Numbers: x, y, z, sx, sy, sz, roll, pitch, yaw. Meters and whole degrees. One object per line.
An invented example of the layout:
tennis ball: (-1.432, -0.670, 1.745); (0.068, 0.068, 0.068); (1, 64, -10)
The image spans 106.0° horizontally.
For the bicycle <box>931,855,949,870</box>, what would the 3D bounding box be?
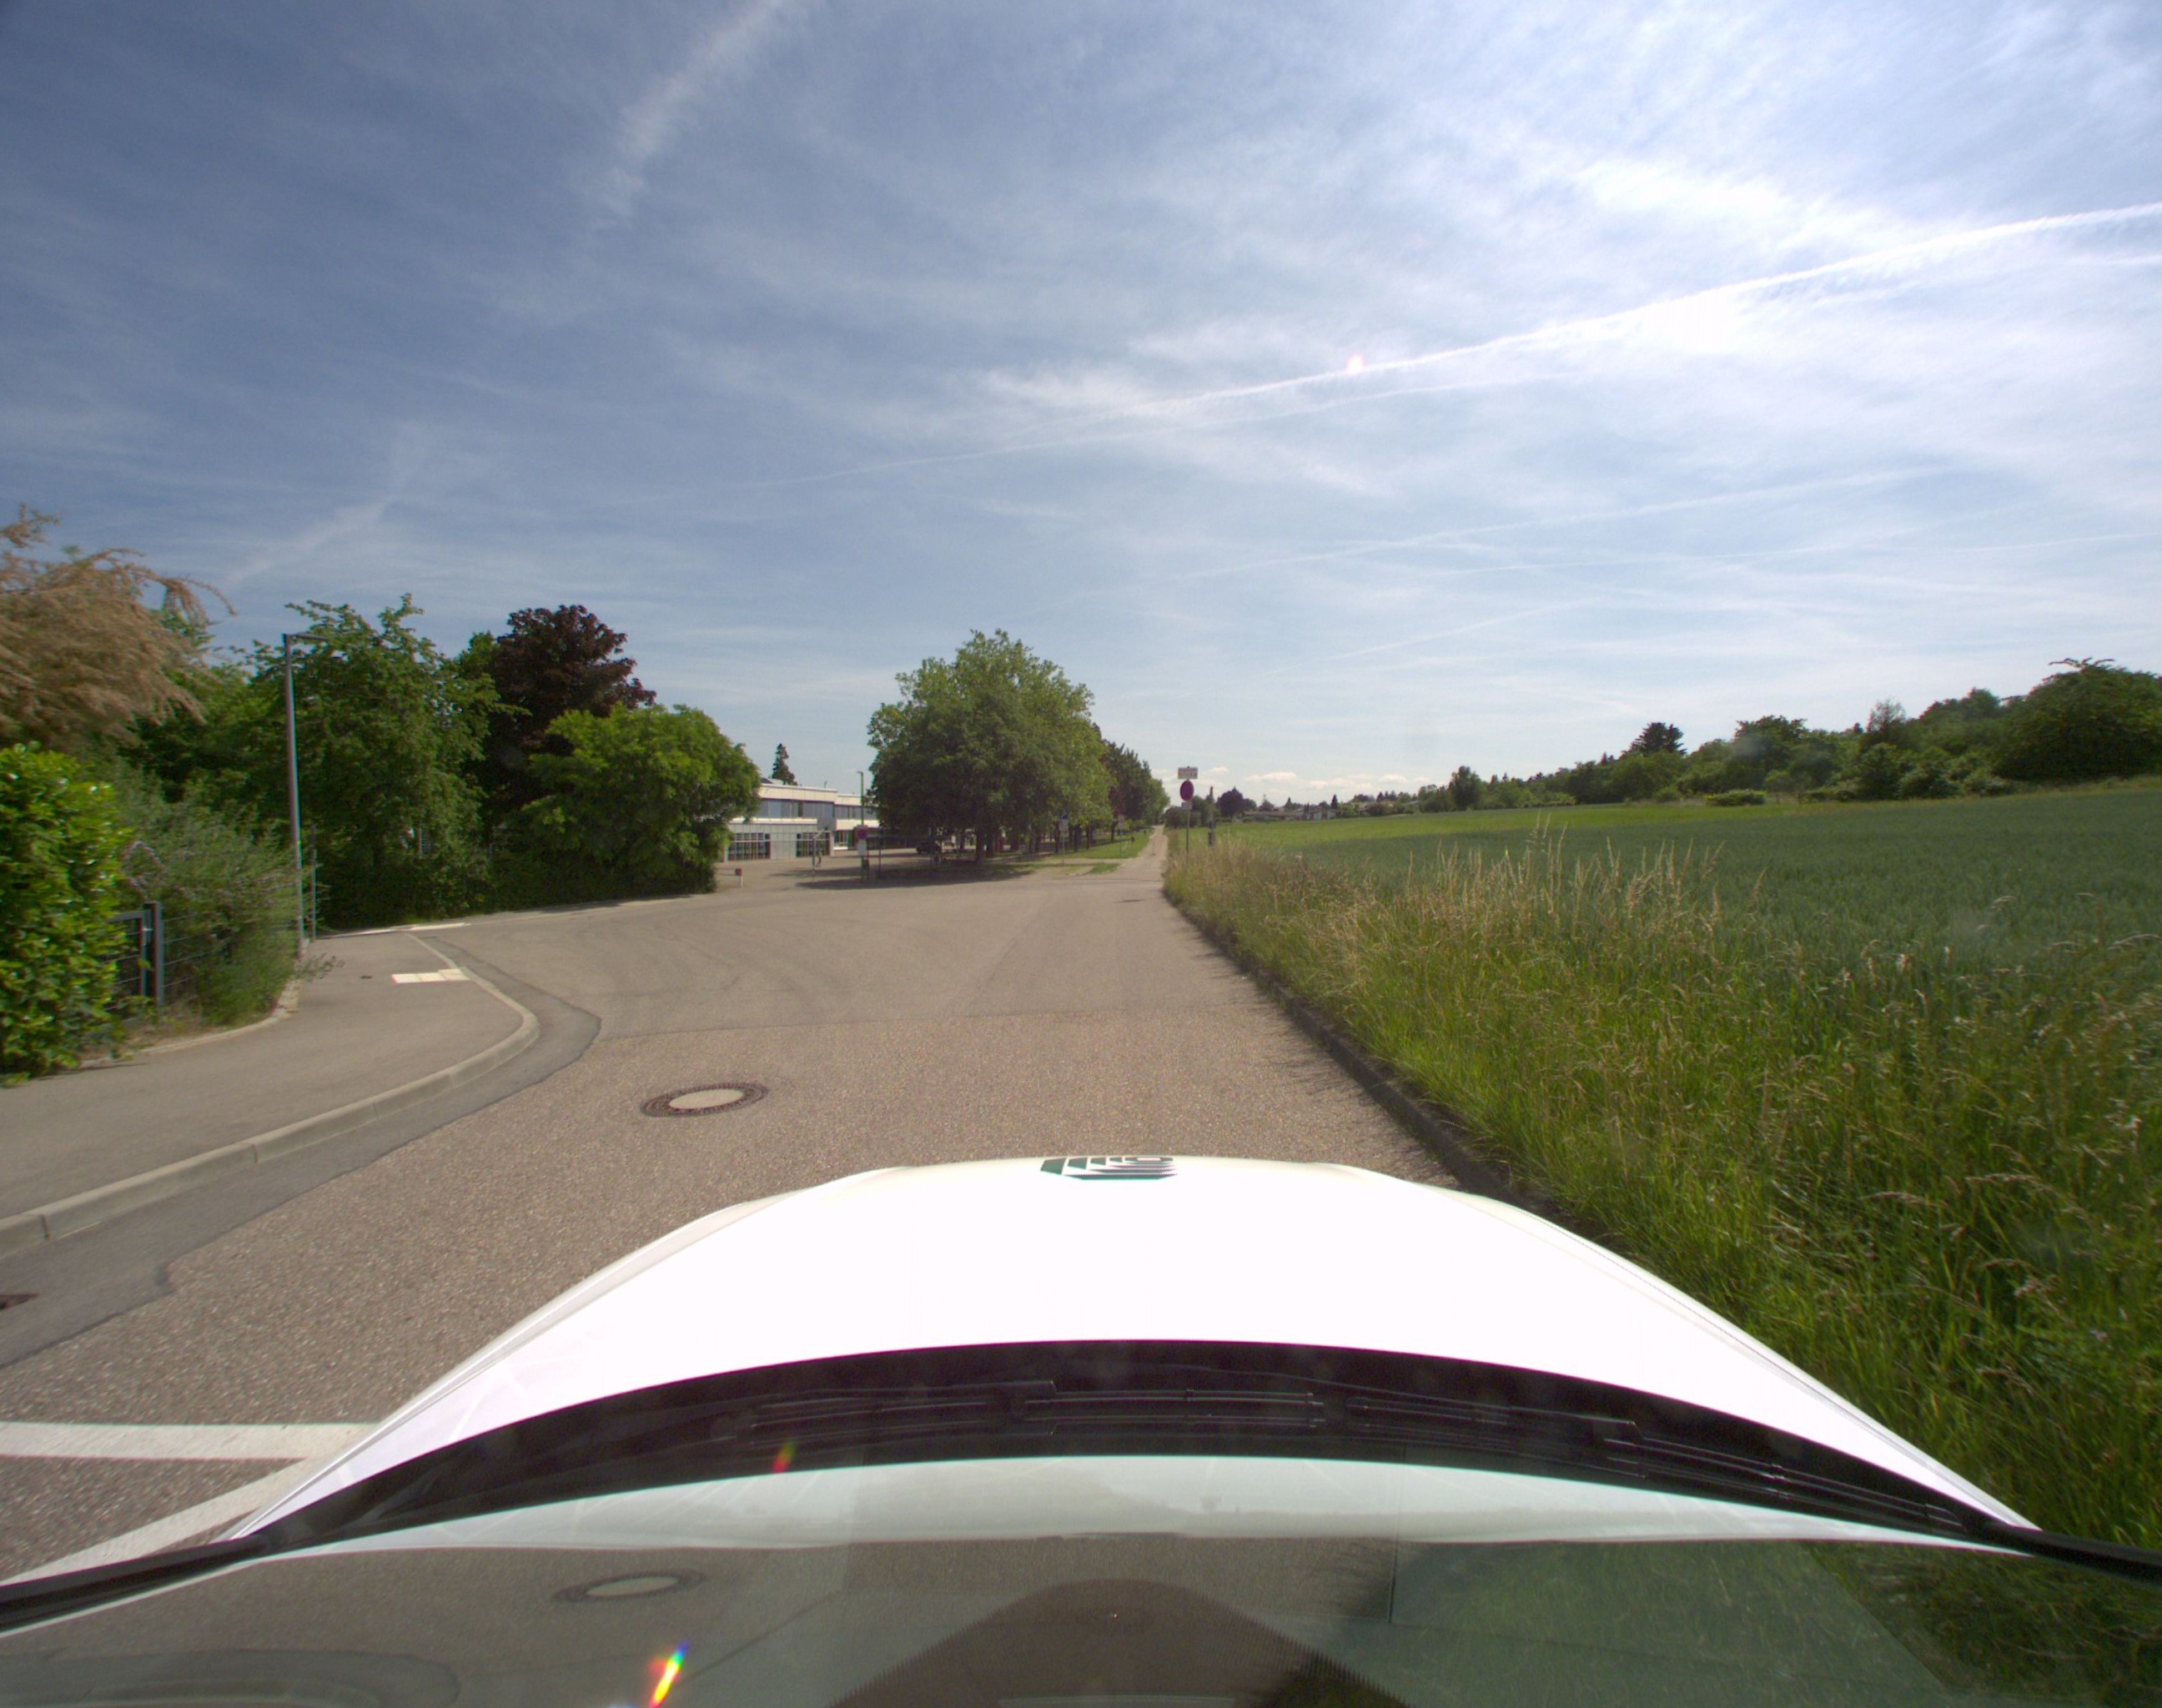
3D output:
bicycle: (-10.698, 0.645, 61.850); (0.590, 1.039, 1.899); (-2, 1, 12)

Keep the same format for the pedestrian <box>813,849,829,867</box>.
pedestrian: (-20.637, 0.325, 64.631); (1.070, 1.423, 0.913); (-1, 1, -23)

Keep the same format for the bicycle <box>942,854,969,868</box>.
bicycle: (-9.833, 0.528, 63.826); (2.057, 1.039, 0.571); (-2, 1, -3)

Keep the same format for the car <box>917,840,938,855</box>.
car: (-19.108, -0.860, 101.389); (1.684, 1.834, 3.414); (-1, 1, 3)

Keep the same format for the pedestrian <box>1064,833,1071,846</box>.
pedestrian: (-1.985, -2.139, 120.346); (0.686, 2.013, 0.796); (-1, 1, -28)
